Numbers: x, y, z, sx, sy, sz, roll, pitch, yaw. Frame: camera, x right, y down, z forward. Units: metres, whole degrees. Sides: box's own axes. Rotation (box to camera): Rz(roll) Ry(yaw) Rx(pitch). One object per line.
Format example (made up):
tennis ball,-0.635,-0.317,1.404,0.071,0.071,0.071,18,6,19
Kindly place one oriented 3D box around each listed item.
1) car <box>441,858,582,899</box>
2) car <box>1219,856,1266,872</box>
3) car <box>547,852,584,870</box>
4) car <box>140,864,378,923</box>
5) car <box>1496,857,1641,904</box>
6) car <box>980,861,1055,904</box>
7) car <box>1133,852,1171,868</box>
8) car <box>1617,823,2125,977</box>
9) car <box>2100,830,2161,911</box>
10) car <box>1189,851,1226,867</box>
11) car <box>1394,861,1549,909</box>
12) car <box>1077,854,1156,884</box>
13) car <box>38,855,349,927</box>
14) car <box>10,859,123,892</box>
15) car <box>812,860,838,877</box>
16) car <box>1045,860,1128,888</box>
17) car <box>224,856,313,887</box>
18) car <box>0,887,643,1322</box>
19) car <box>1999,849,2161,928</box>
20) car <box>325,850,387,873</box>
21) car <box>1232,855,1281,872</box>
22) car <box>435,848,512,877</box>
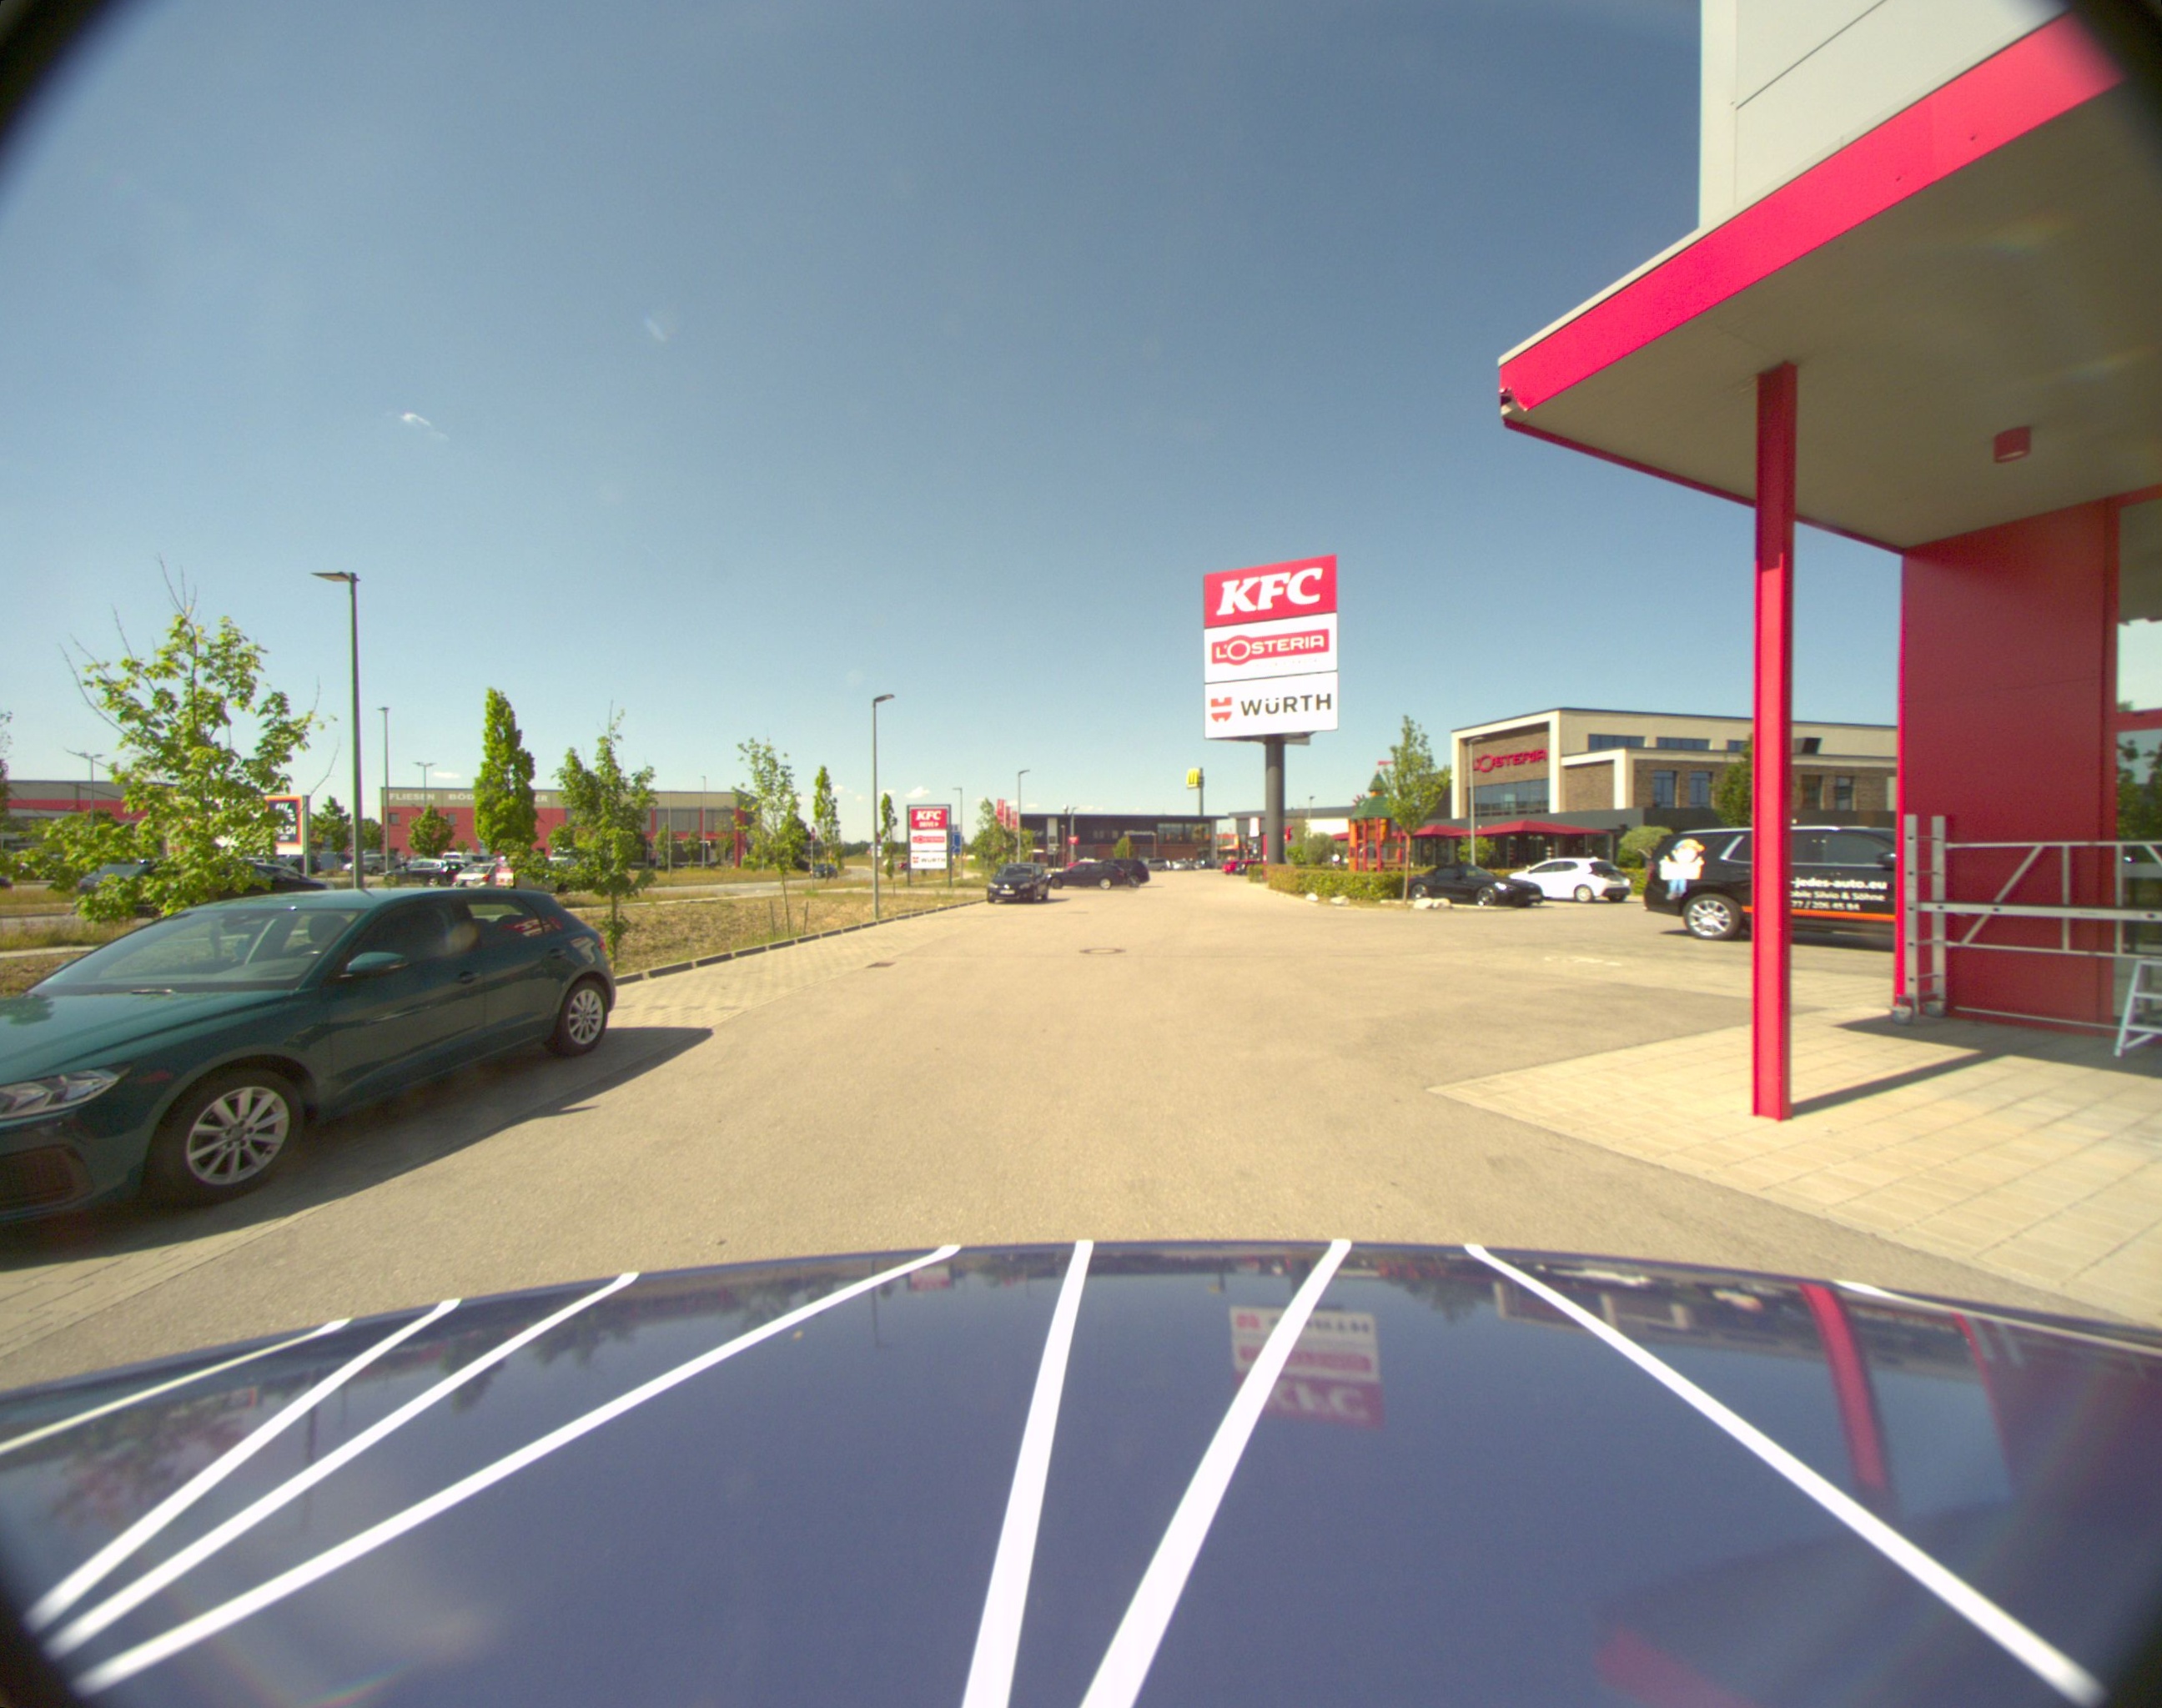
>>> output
car,-23.974,0.972,32.243,1.944,1.542,4.764,-1,0,9
car,15.843,0.968,74.676,4.098,1.556,1.876,0,0,-14
car,-60.483,0.772,89.257,2.001,2.026,4.479,-1,0,-13
car,-25.055,1.124,23.496,1.944,1.542,4.763,-1,0,5
car,16.715,0.858,26.267,1.805,1.466,3.907,0,0,-20
car,-2.321,1.031,28.939,1.876,1.457,4.367,0,0,9
car,9.112,0.781,97.861,4.486,2.002,1.997,-1,0,-14
car,12.186,0.582,12.375,2.034,1.927,5.370,0,0,-25
car,28.241,0.386,18.402,2.003,2.002,3.991,-1,0,-27
car,16.984,0.631,102.353,4.486,2.002,1.997,-1,0,-14
car,12.300,0.917,24.214,1.833,1.330,4.145,0,0,-26
car,2.197,0.898,46.465,4.526,1.825,2.002,0,0,12
car,-21.899,0.825,19.139,1.944,1.542,4.764,-1,0,8
car,-67.111,1.366,50.385,2.001,2.026,4.479,-1,0,-13
car,-24.388,1.357,72.526,1.829,1.532,3.996,-1,0,-12
car,0.328,1.104,42.470,4.530,1.450,2.000,0,0,2
car,-56.477,1.170,52.938,2.001,2.026,4.479,-1,0,-13
car,-4.920,1.021,4.790,1.844,1.441,4.227,0,0,0
car,22.934,0.706,16.167,1.784,1.607,3.992,0,0,-23
car,-65.620,0.650,68.850,2.001,2.026,4.479,-1,0,-13
car,16.637,0.917,72.067,4.098,1.556,1.876,0,0,-14
car,-48.144,0.661,60.353,1.996,2.173,4.489,-1,0,13
